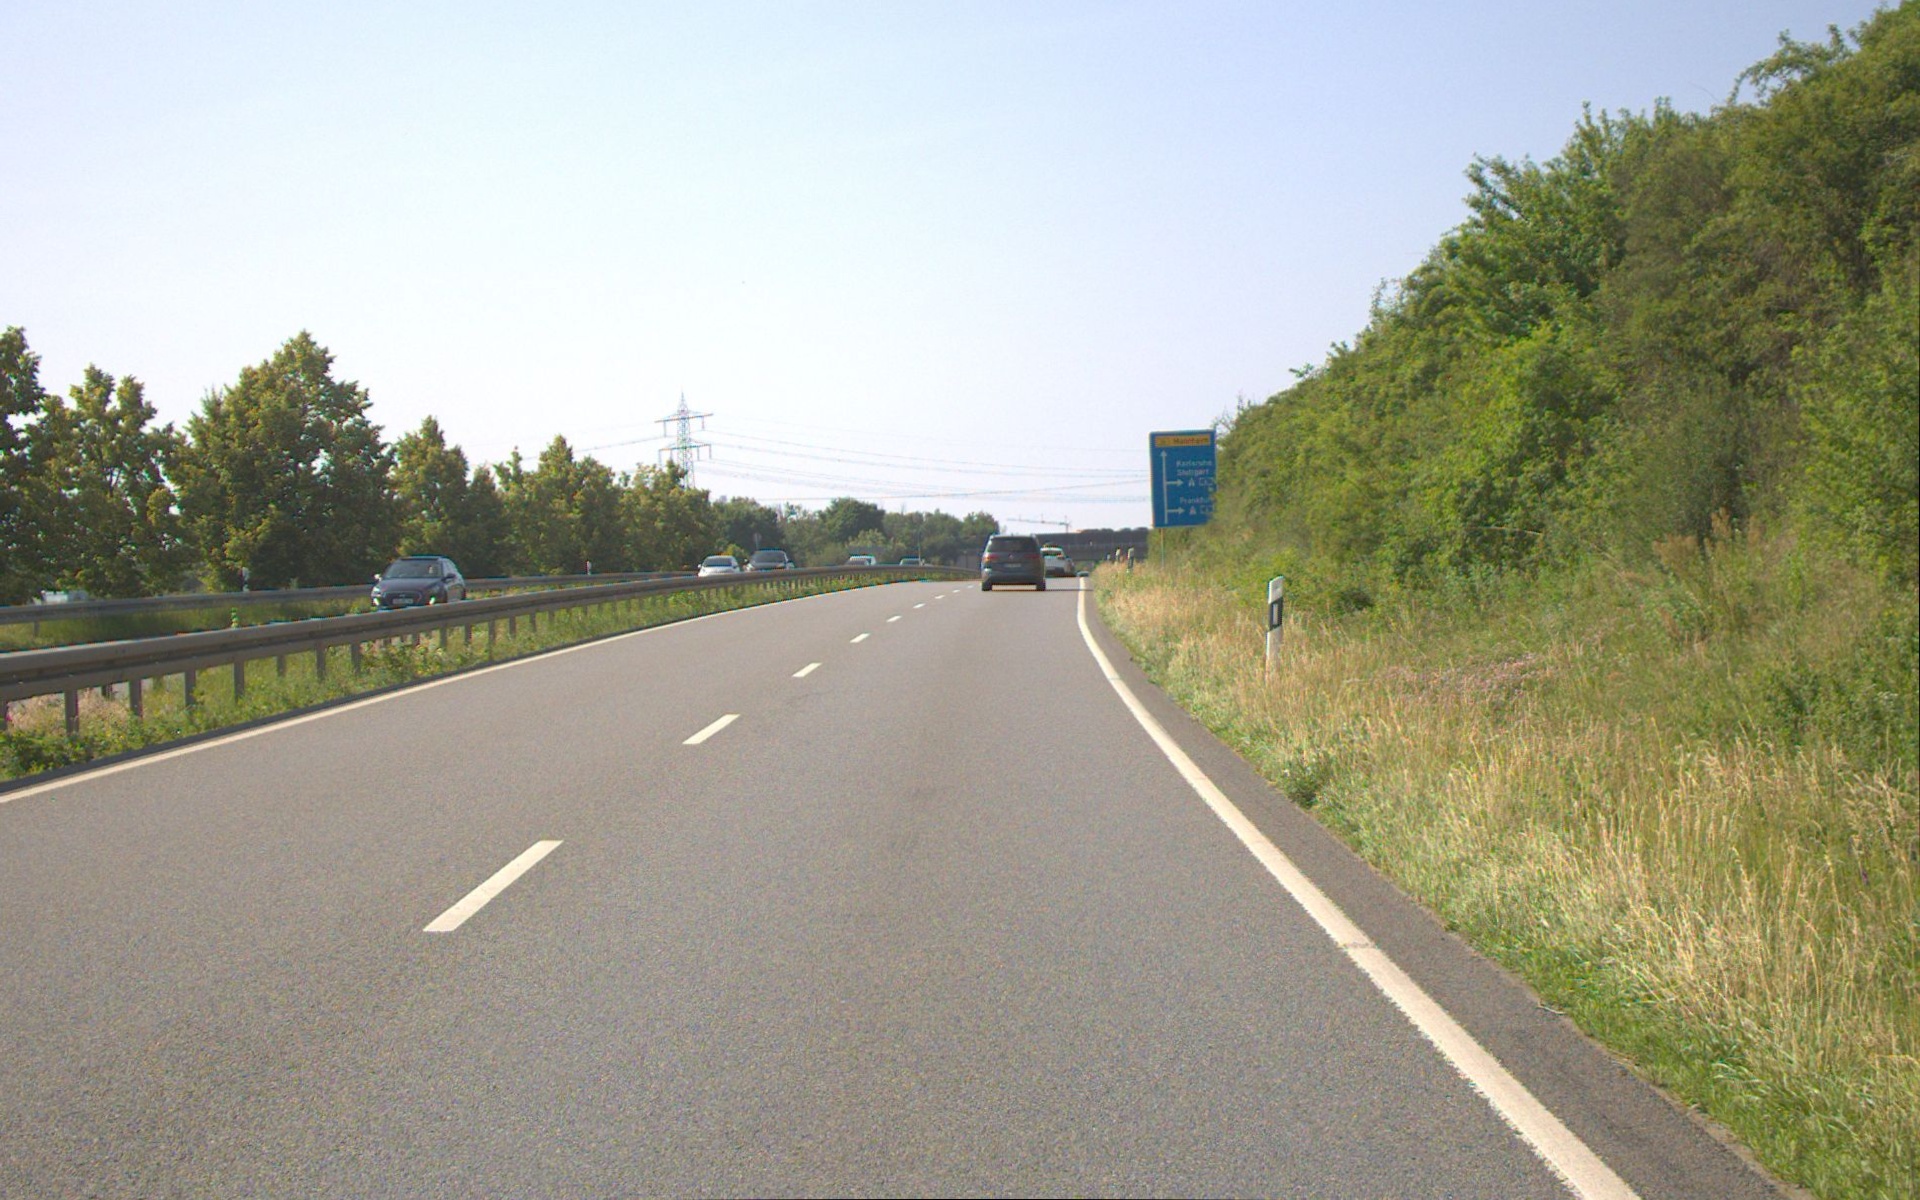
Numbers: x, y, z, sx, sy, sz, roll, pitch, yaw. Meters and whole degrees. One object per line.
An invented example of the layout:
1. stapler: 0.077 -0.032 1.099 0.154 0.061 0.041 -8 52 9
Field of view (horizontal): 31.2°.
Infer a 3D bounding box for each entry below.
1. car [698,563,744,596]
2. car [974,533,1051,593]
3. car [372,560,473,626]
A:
1. car: -10.727 -0.931 154.349 1.690 1.432 3.940 -1 1 2
2. car: 1.526 -1.050 98.408 1.850 1.639 3.999 -1 0 5
3. car: -13.401 -0.202 85.918 1.652 1.548 4.561 1 1 2
